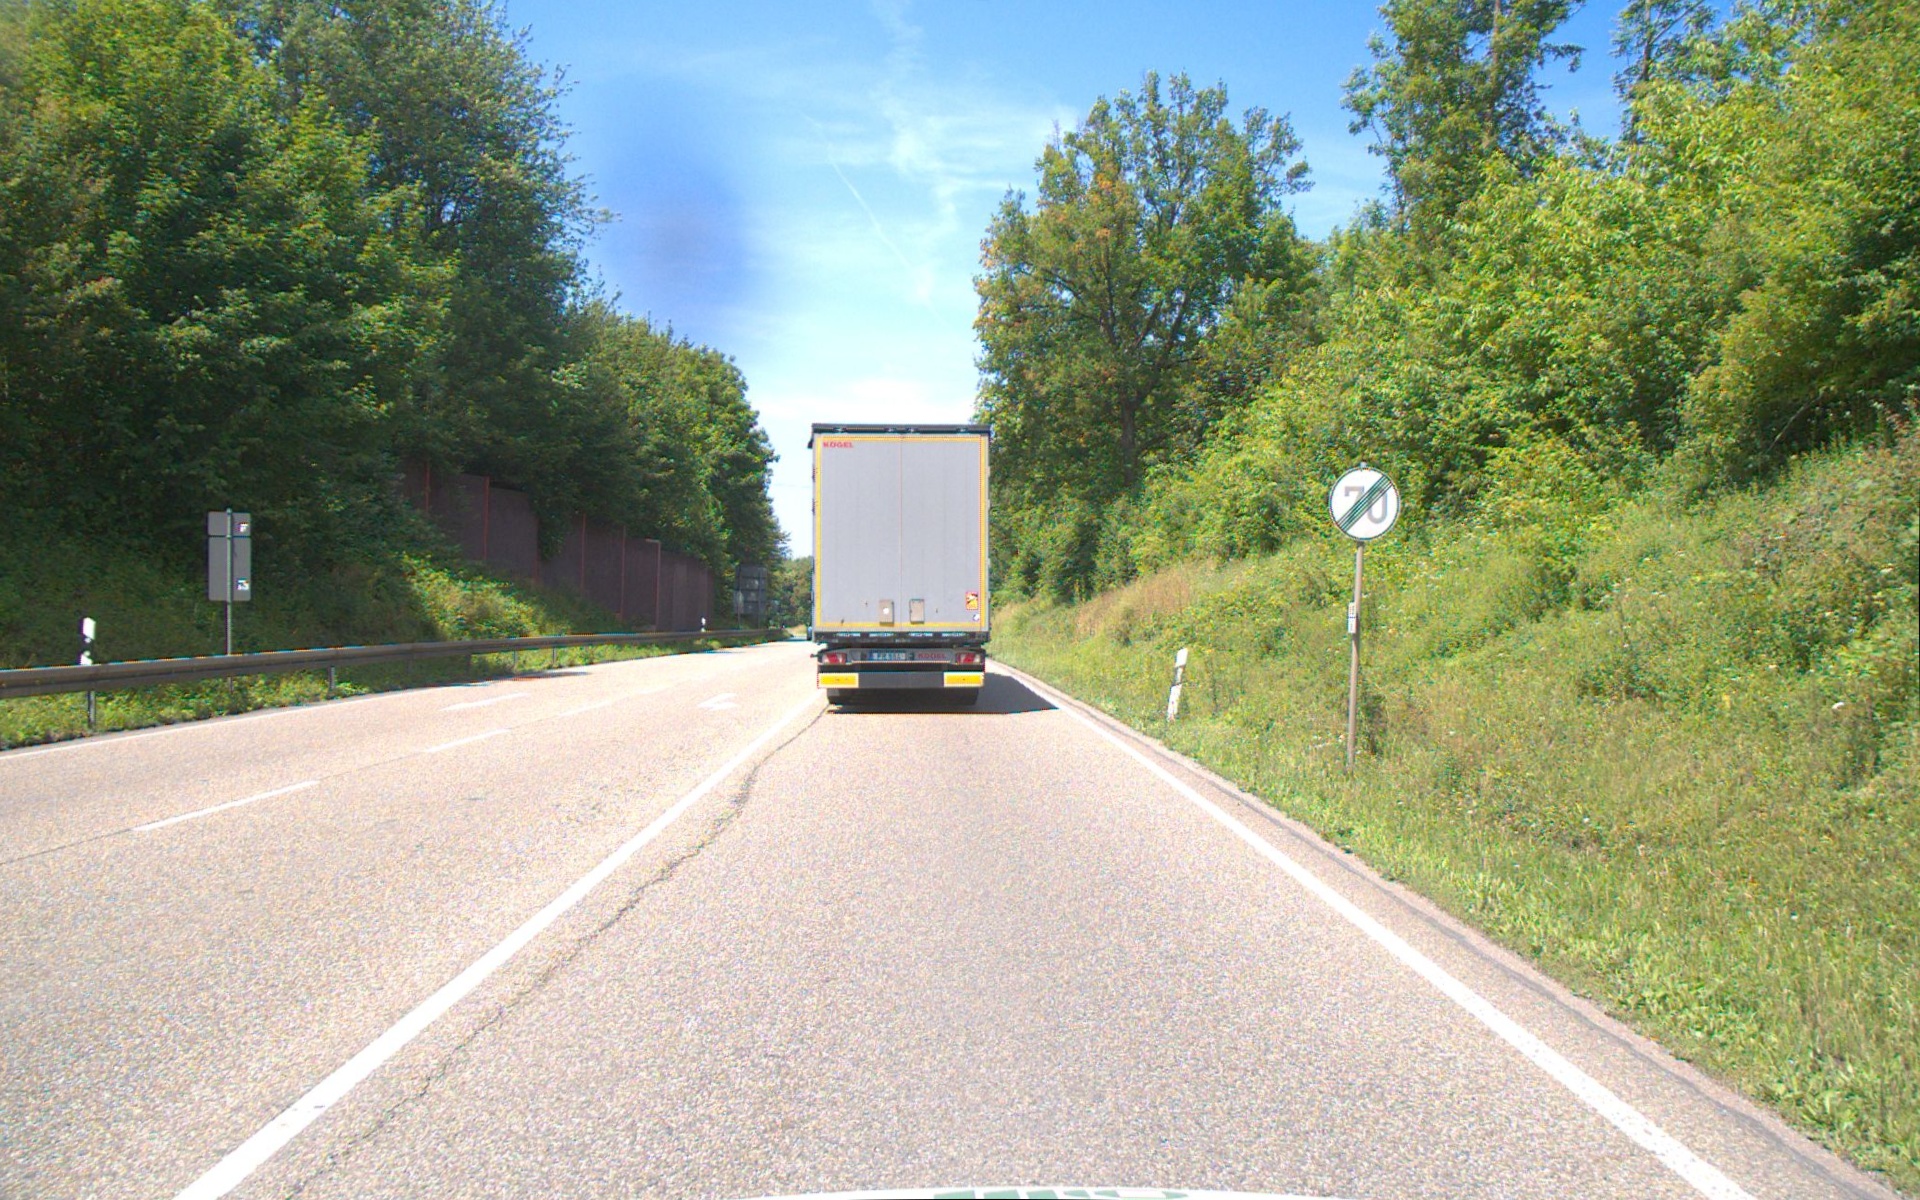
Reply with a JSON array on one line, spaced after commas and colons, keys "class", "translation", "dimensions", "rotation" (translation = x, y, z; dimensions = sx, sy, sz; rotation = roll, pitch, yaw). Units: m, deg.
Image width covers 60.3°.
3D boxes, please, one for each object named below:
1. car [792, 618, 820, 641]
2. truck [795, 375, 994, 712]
[{"class": "car", "translation": [-10.313, 1.962, 110.769], "dimensions": [1.772, 1.460, 3.865], "rotation": [-1, 0, -7]}, {"class": "truck", "translation": [-0.972, -0.805, 26.333], "dimensions": [2.765, 4.684, 6.663], "rotation": [0, 0, -1]}]
